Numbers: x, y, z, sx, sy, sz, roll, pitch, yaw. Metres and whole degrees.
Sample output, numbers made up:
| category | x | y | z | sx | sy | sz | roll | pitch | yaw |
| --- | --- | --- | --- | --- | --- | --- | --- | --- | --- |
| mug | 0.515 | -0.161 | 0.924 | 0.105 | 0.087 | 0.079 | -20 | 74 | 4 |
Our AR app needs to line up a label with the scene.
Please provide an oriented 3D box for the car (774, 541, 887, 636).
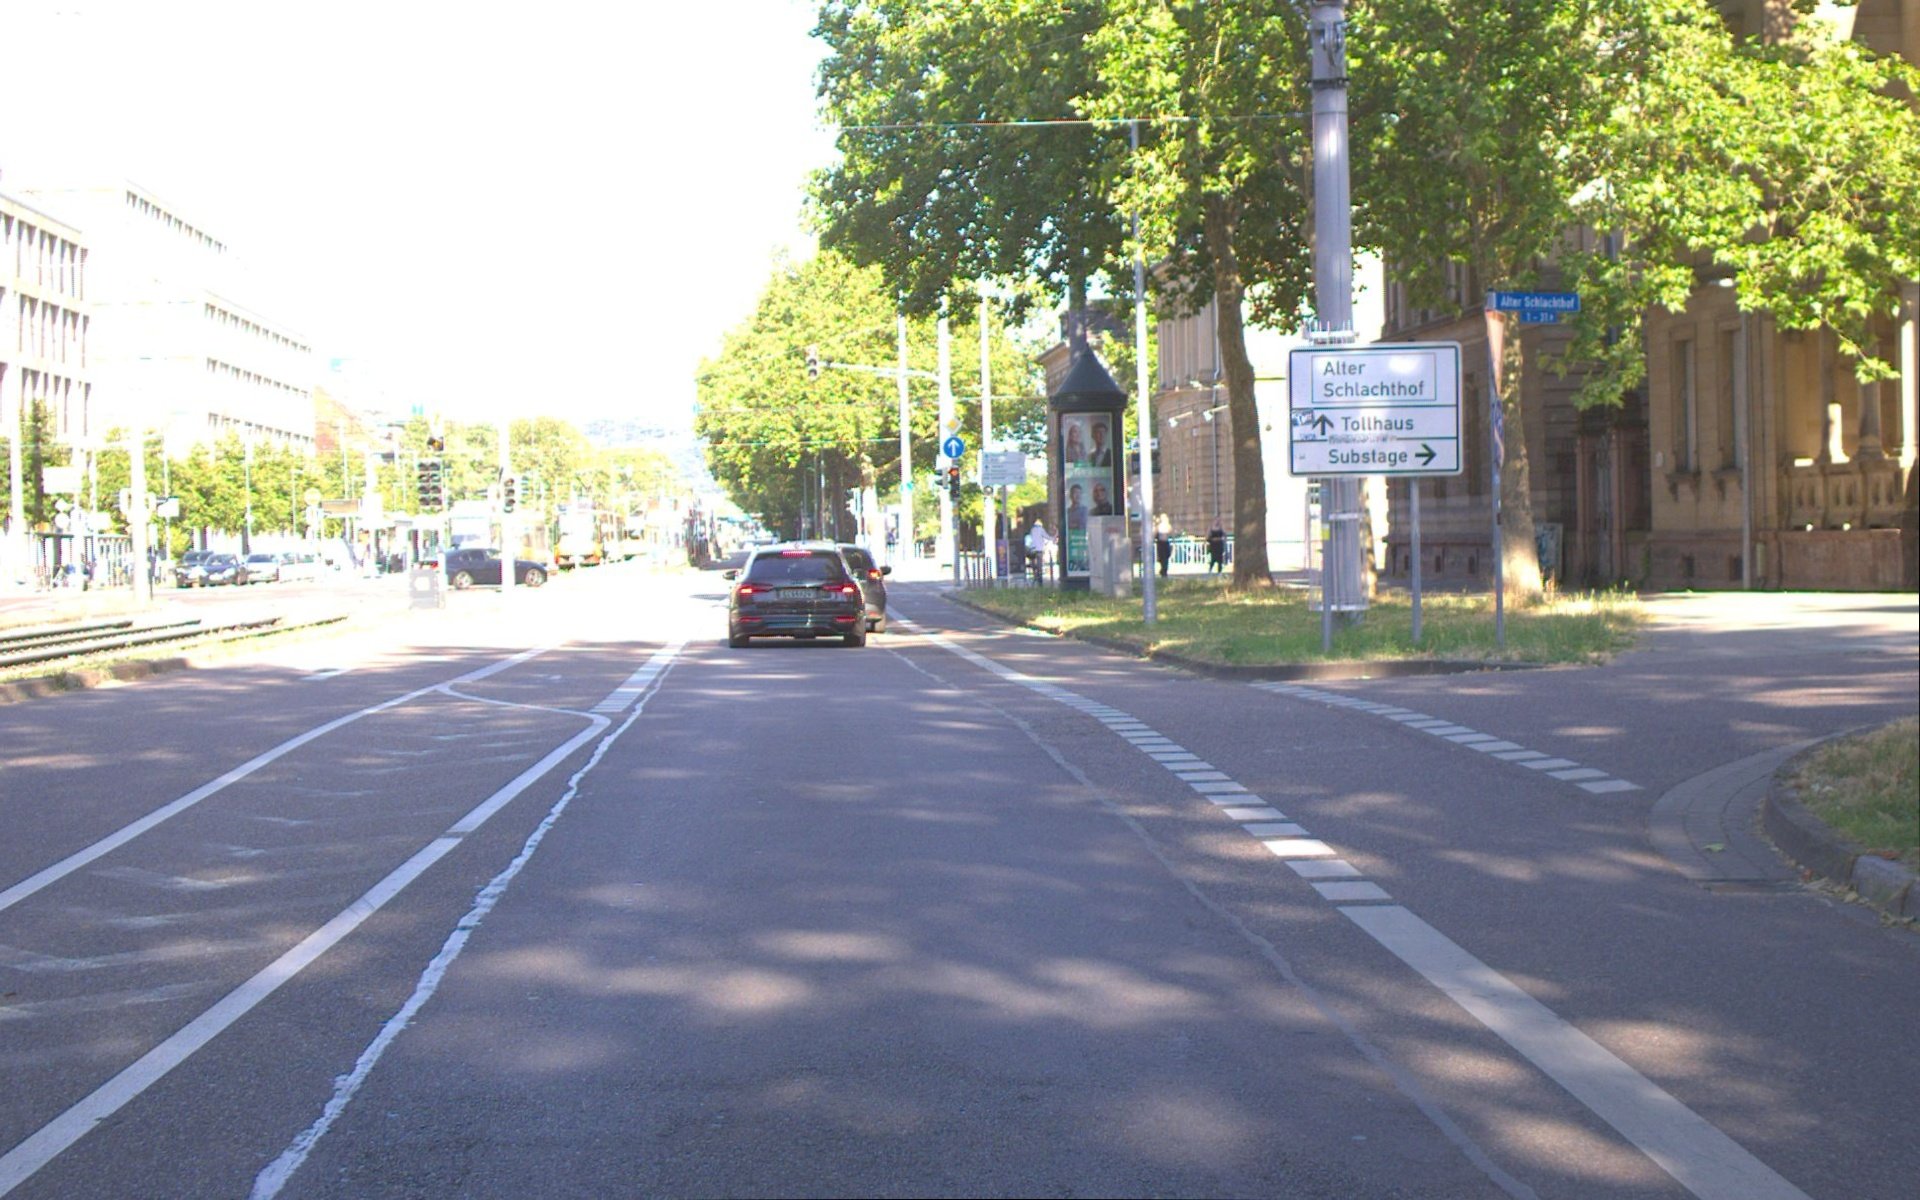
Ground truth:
| category | x | y | z | sx | sy | sz | roll | pitch | yaw |
| --- | --- | --- | --- | --- | --- | --- | --- | --- | --- |
| car | -2.197 | -0.219 | 57.782 | 1.794 | 1.505 | 4.001 | -1 | 1 | -3 |

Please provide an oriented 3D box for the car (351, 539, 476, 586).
| category | x | y | z | sx | sy | sz | roll | pitch | yaw |
| --- | --- | --- | --- | --- | --- | --- | --- | --- | --- |
| car | -18.317 | -1.252 | 115.337 | 1.798 | 1.505 | 3.991 | 1 | 0 | 37 |

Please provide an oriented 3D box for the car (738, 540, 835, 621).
| category | x | y | z | sx | sy | sz | roll | pitch | yaw |
| --- | --- | --- | --- | --- | --- | --- | --- | --- | --- |
| car | -3.380 | -0.400 | 67.103 | 1.794 | 1.505 | 4.001 | -1 | 1 | -3 |

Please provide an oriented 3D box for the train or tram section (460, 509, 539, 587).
| category | x | y | z | sx | sy | sz | roll | pitch | yaw |
| --- | --- | --- | --- | --- | --- | --- | --- | --- | --- |
| train or tram section | -21.246 | -2.406 | 158.890 | 2.825 | 3.439 | 9.065 | -1 | 1 | -3 |

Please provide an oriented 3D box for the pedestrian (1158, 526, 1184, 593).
| category | x | y | z | sx | sy | sz | roll | pitch | yaw |
| --- | --- | --- | --- | --- | --- | --- | --- | --- | --- |
| pedestrian | 5.482 | -1.046 | 89.416 | 0.588 | 1.722 | 0.650 | 1 | 1 | 9 |

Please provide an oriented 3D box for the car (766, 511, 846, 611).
| category | x | y | z | sx | sy | sz | roll | pitch | yaw |
| --- | --- | --- | --- | --- | --- | --- | --- | --- | --- |
| car | -3.645 | -0.934 | 81.230 | 1.794 | 2.263 | 4.001 | -1 | 1 | -3 |

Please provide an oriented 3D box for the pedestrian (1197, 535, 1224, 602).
| category | x | y | z | sx | sy | sz | roll | pitch | yaw |
| --- | --- | --- | --- | --- | --- | --- | --- | --- | --- |
| pedestrian | 6.499 | -0.823 | 89.189 | 0.588 | 1.722 | 0.650 | 1 | 1 | 11 |

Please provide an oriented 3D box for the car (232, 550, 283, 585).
| category | x | y | z | sx | sy | sz | roll | pitch | yaw |
| --- | --- | --- | --- | --- | --- | --- | --- | --- | --- |
| car | -31.538 | -1.456 | 154.354 | 1.794 | 1.505 | 4.001 | -1 | 1 | -6 |

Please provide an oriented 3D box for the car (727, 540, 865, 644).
| category | x | y | z | sx | sy | sz | roll | pitch | yaw |
| --- | --- | --- | --- | --- | --- | --- | --- | --- | --- |
| car | -2.341 | -0.142 | 48.282 | 1.833 | 1.386 | 4.160 | 0 | 1 | -4 |

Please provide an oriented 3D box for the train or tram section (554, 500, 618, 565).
| category | x | y | z | sx | sy | sz | roll | pitch | yaw |
| --- | --- | --- | --- | --- | --- | --- | --- | --- | --- |
| train or tram section | -20.570 | -3.713 | 189.400 | 2.825 | 3.439 | 9.065 | -1 | 1 | -2 |

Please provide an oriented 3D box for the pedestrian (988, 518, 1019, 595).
| category | x | y | z | sx | sy | sz | roll | pitch | yaw |
| --- | --- | --- | --- | --- | --- | --- | --- | --- | --- |
| pedestrian | 0.976 | -0.982 | 77.500 | 0.588 | 1.722 | 0.650 | 1 | 1 | 9 |

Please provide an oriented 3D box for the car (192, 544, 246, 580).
| category | x | y | z | sx | sy | sz | roll | pitch | yaw |
| --- | --- | --- | --- | --- | --- | --- | --- | --- | --- |
| car | -31.826 | -1.648 | 147.723 | 1.794 | 1.505 | 4.001 | -1 | 1 | -6 |
